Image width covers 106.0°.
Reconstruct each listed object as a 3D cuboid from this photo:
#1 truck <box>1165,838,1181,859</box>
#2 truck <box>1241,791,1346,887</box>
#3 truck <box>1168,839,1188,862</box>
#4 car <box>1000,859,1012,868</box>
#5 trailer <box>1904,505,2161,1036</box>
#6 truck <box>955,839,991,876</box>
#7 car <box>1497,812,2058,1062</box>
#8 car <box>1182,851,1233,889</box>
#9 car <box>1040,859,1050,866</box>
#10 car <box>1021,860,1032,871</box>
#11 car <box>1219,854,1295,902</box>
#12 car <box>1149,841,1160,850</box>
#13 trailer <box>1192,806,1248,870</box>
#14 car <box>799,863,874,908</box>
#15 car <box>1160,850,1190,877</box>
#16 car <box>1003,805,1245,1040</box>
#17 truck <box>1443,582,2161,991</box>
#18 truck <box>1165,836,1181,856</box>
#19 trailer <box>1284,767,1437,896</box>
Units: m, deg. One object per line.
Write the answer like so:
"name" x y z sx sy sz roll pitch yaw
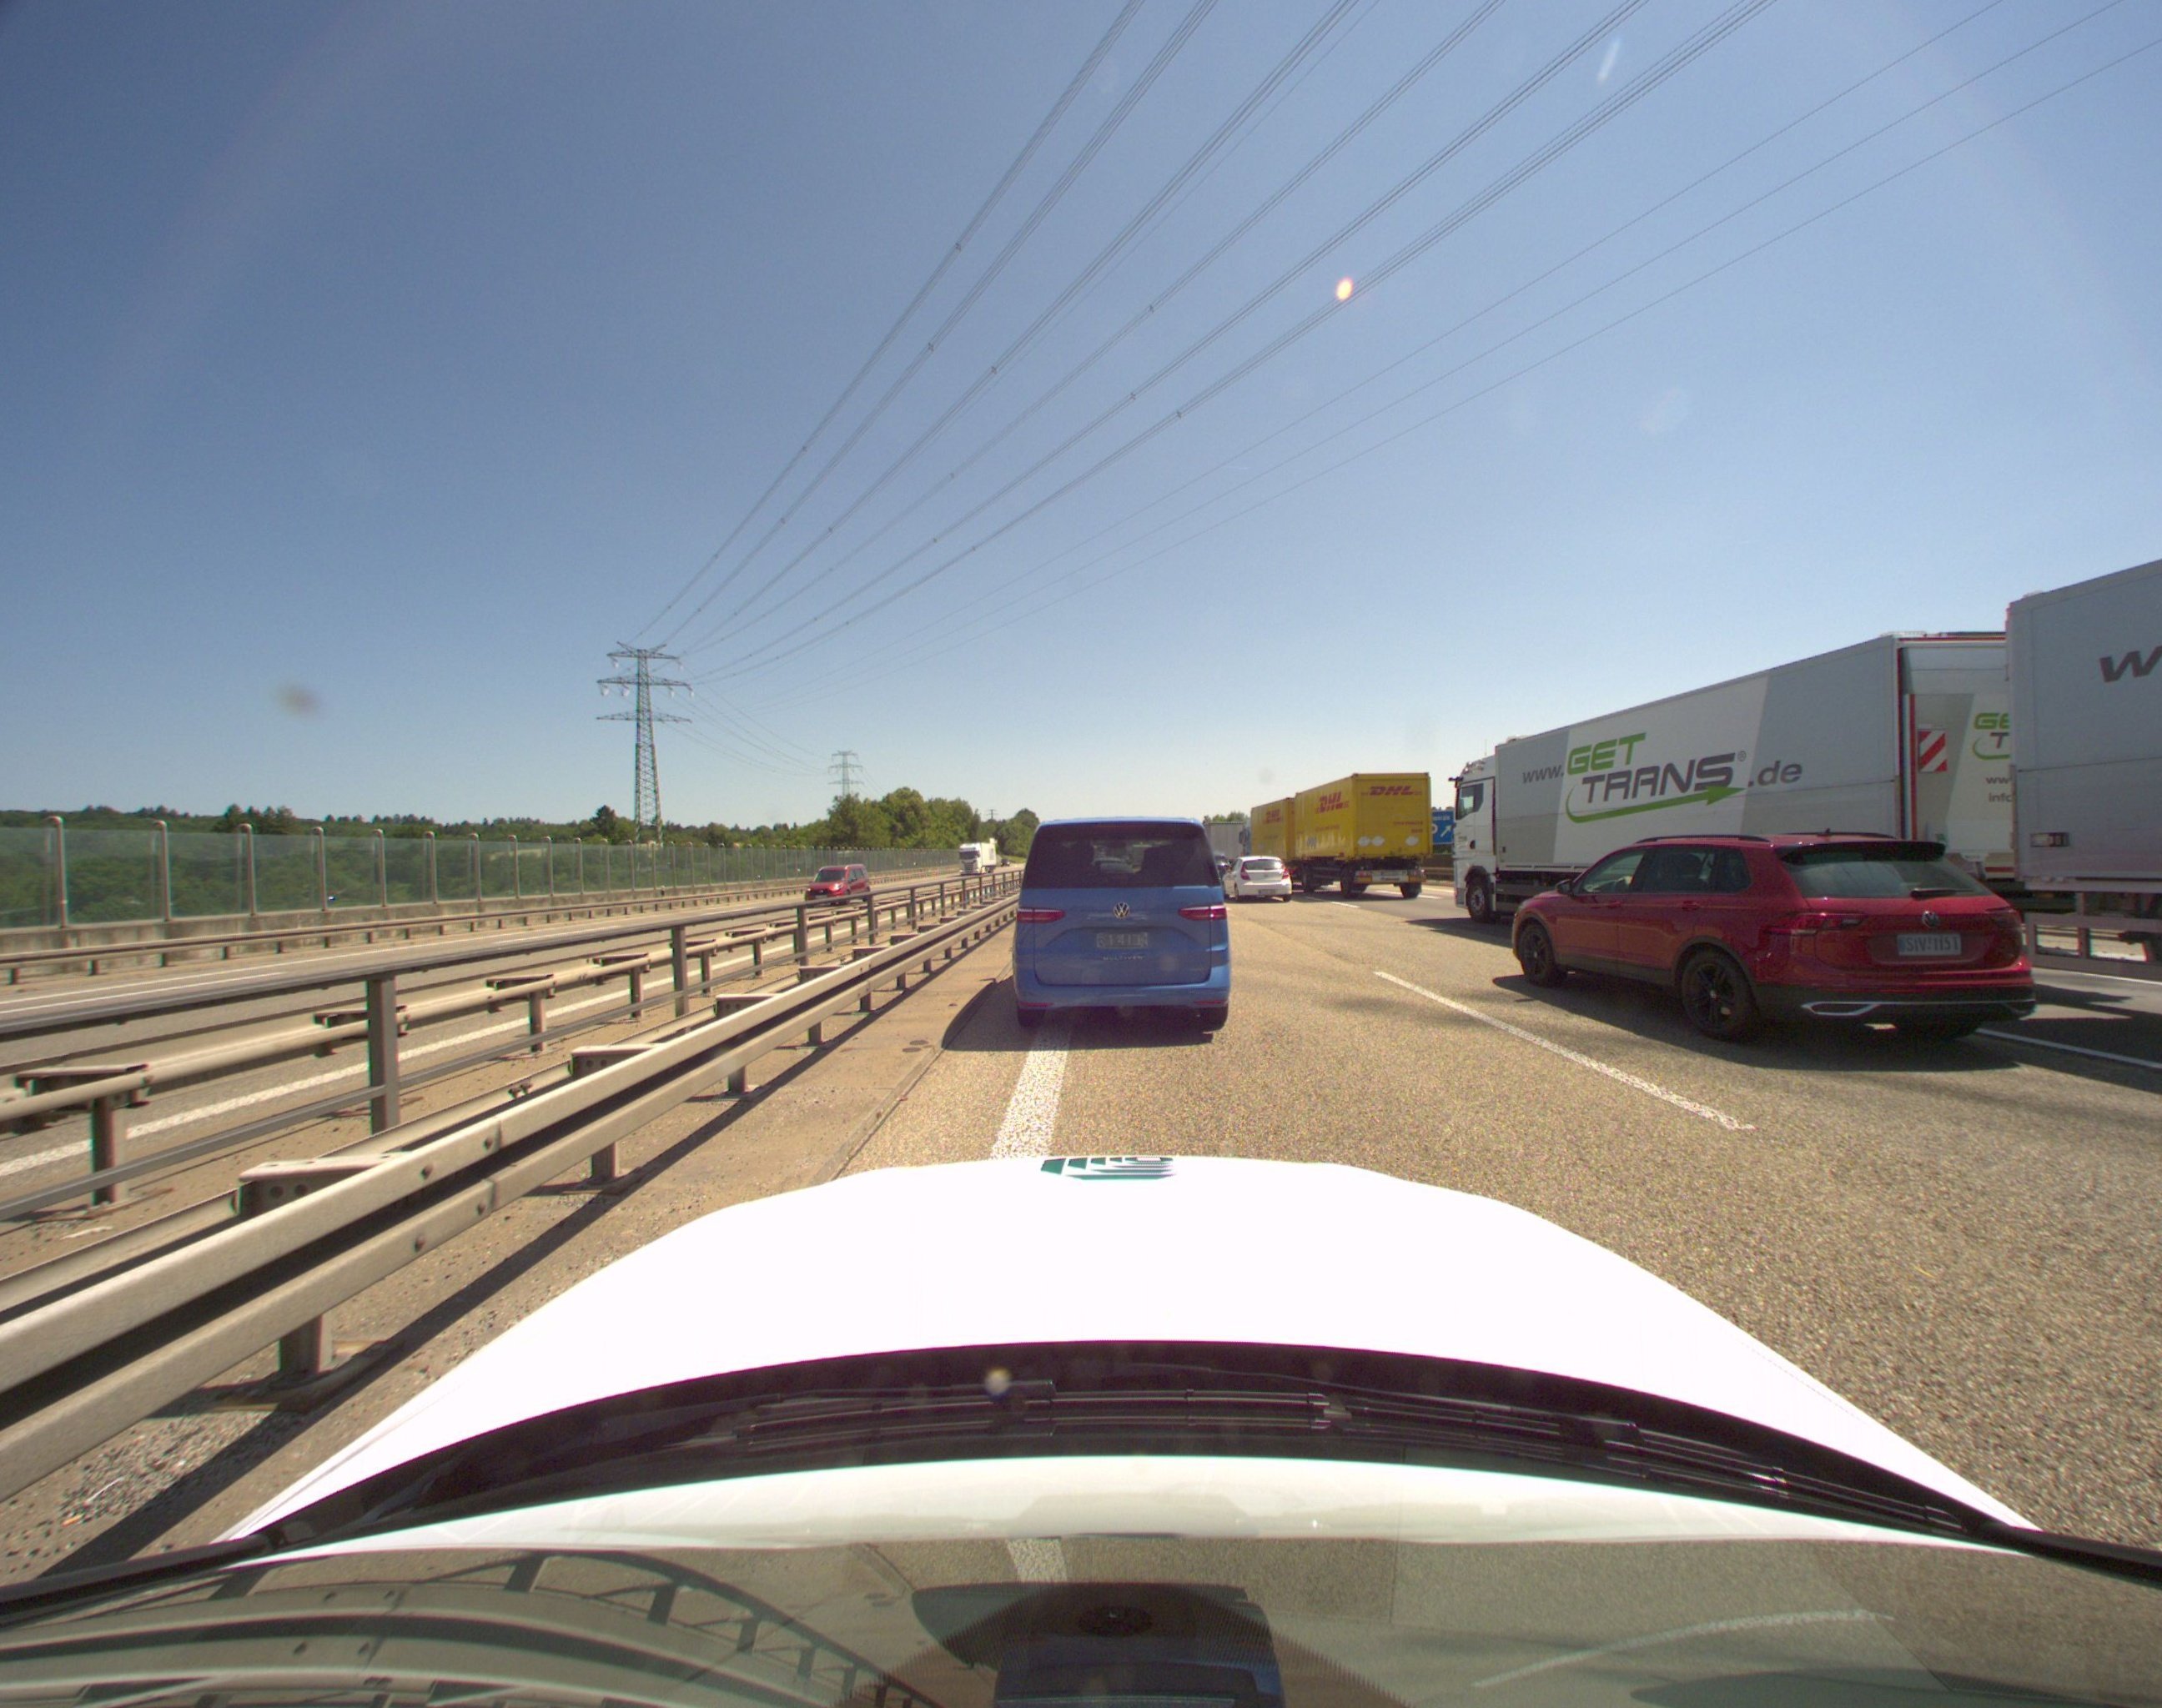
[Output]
"truck" 11.353 -0.672 100.730 1.735 2.549 4.212 0 -1 2
"truck" 10.099 -0.593 39.938 2.690 4.088 9.940 0 -1 1
"truck" 10.877 -0.365 91.693 1.791 2.449 4.506 0 -1 2
"car" -16.731 2.041 181.319 1.950 1.905 4.950 -3 -1 0
"trailer" 9.319 -0.652 3.726 2.888 3.891 8.216 0 -1 1
"truck" -13.559 0.432 102.685 2.917 4.293 6.862 -4 -1 3
"car" 5.815 0.591 7.676 1.702 1.679 4.286 -1 -1 2
"car" 5.831 0.723 37.956 1.808 1.679 3.933 0 -1 1
"car" -8.236 1.841 186.973 1.765 1.491 4.607 -3 0 2
"car" -12.991 2.773 195.773 1.987 2.582 6.650 -4 -1 1
"car" 5.849 0.775 27.482 1.808 1.470 3.933 0 -1 1
"car" 14.219 -1.608 157.428 1.790 1.751 3.945 0 -1 2
"trailer" 10.878 -1.112 64.933 3.014 4.611 10.930 0 -1 2
"car" -10.971 1.361 36.876 1.833 1.822 4.748 -3 -1 1
"car" 7.047 0.697 61.355 1.955 1.936 3.933 0 -1 2
"car" 0.405 0.577 8.549 1.923 1.874 4.001 0 -1 2
"truck" 9.531 -0.593 13.178 2.841 3.934 10.612 0 -1 1
"truck" 11.934 -1.020 105.942 1.790 2.596 4.307 0 -1 2
"trailer" 10.033 -0.665 30.487 2.673 4.088 8.980 0 -1 0
